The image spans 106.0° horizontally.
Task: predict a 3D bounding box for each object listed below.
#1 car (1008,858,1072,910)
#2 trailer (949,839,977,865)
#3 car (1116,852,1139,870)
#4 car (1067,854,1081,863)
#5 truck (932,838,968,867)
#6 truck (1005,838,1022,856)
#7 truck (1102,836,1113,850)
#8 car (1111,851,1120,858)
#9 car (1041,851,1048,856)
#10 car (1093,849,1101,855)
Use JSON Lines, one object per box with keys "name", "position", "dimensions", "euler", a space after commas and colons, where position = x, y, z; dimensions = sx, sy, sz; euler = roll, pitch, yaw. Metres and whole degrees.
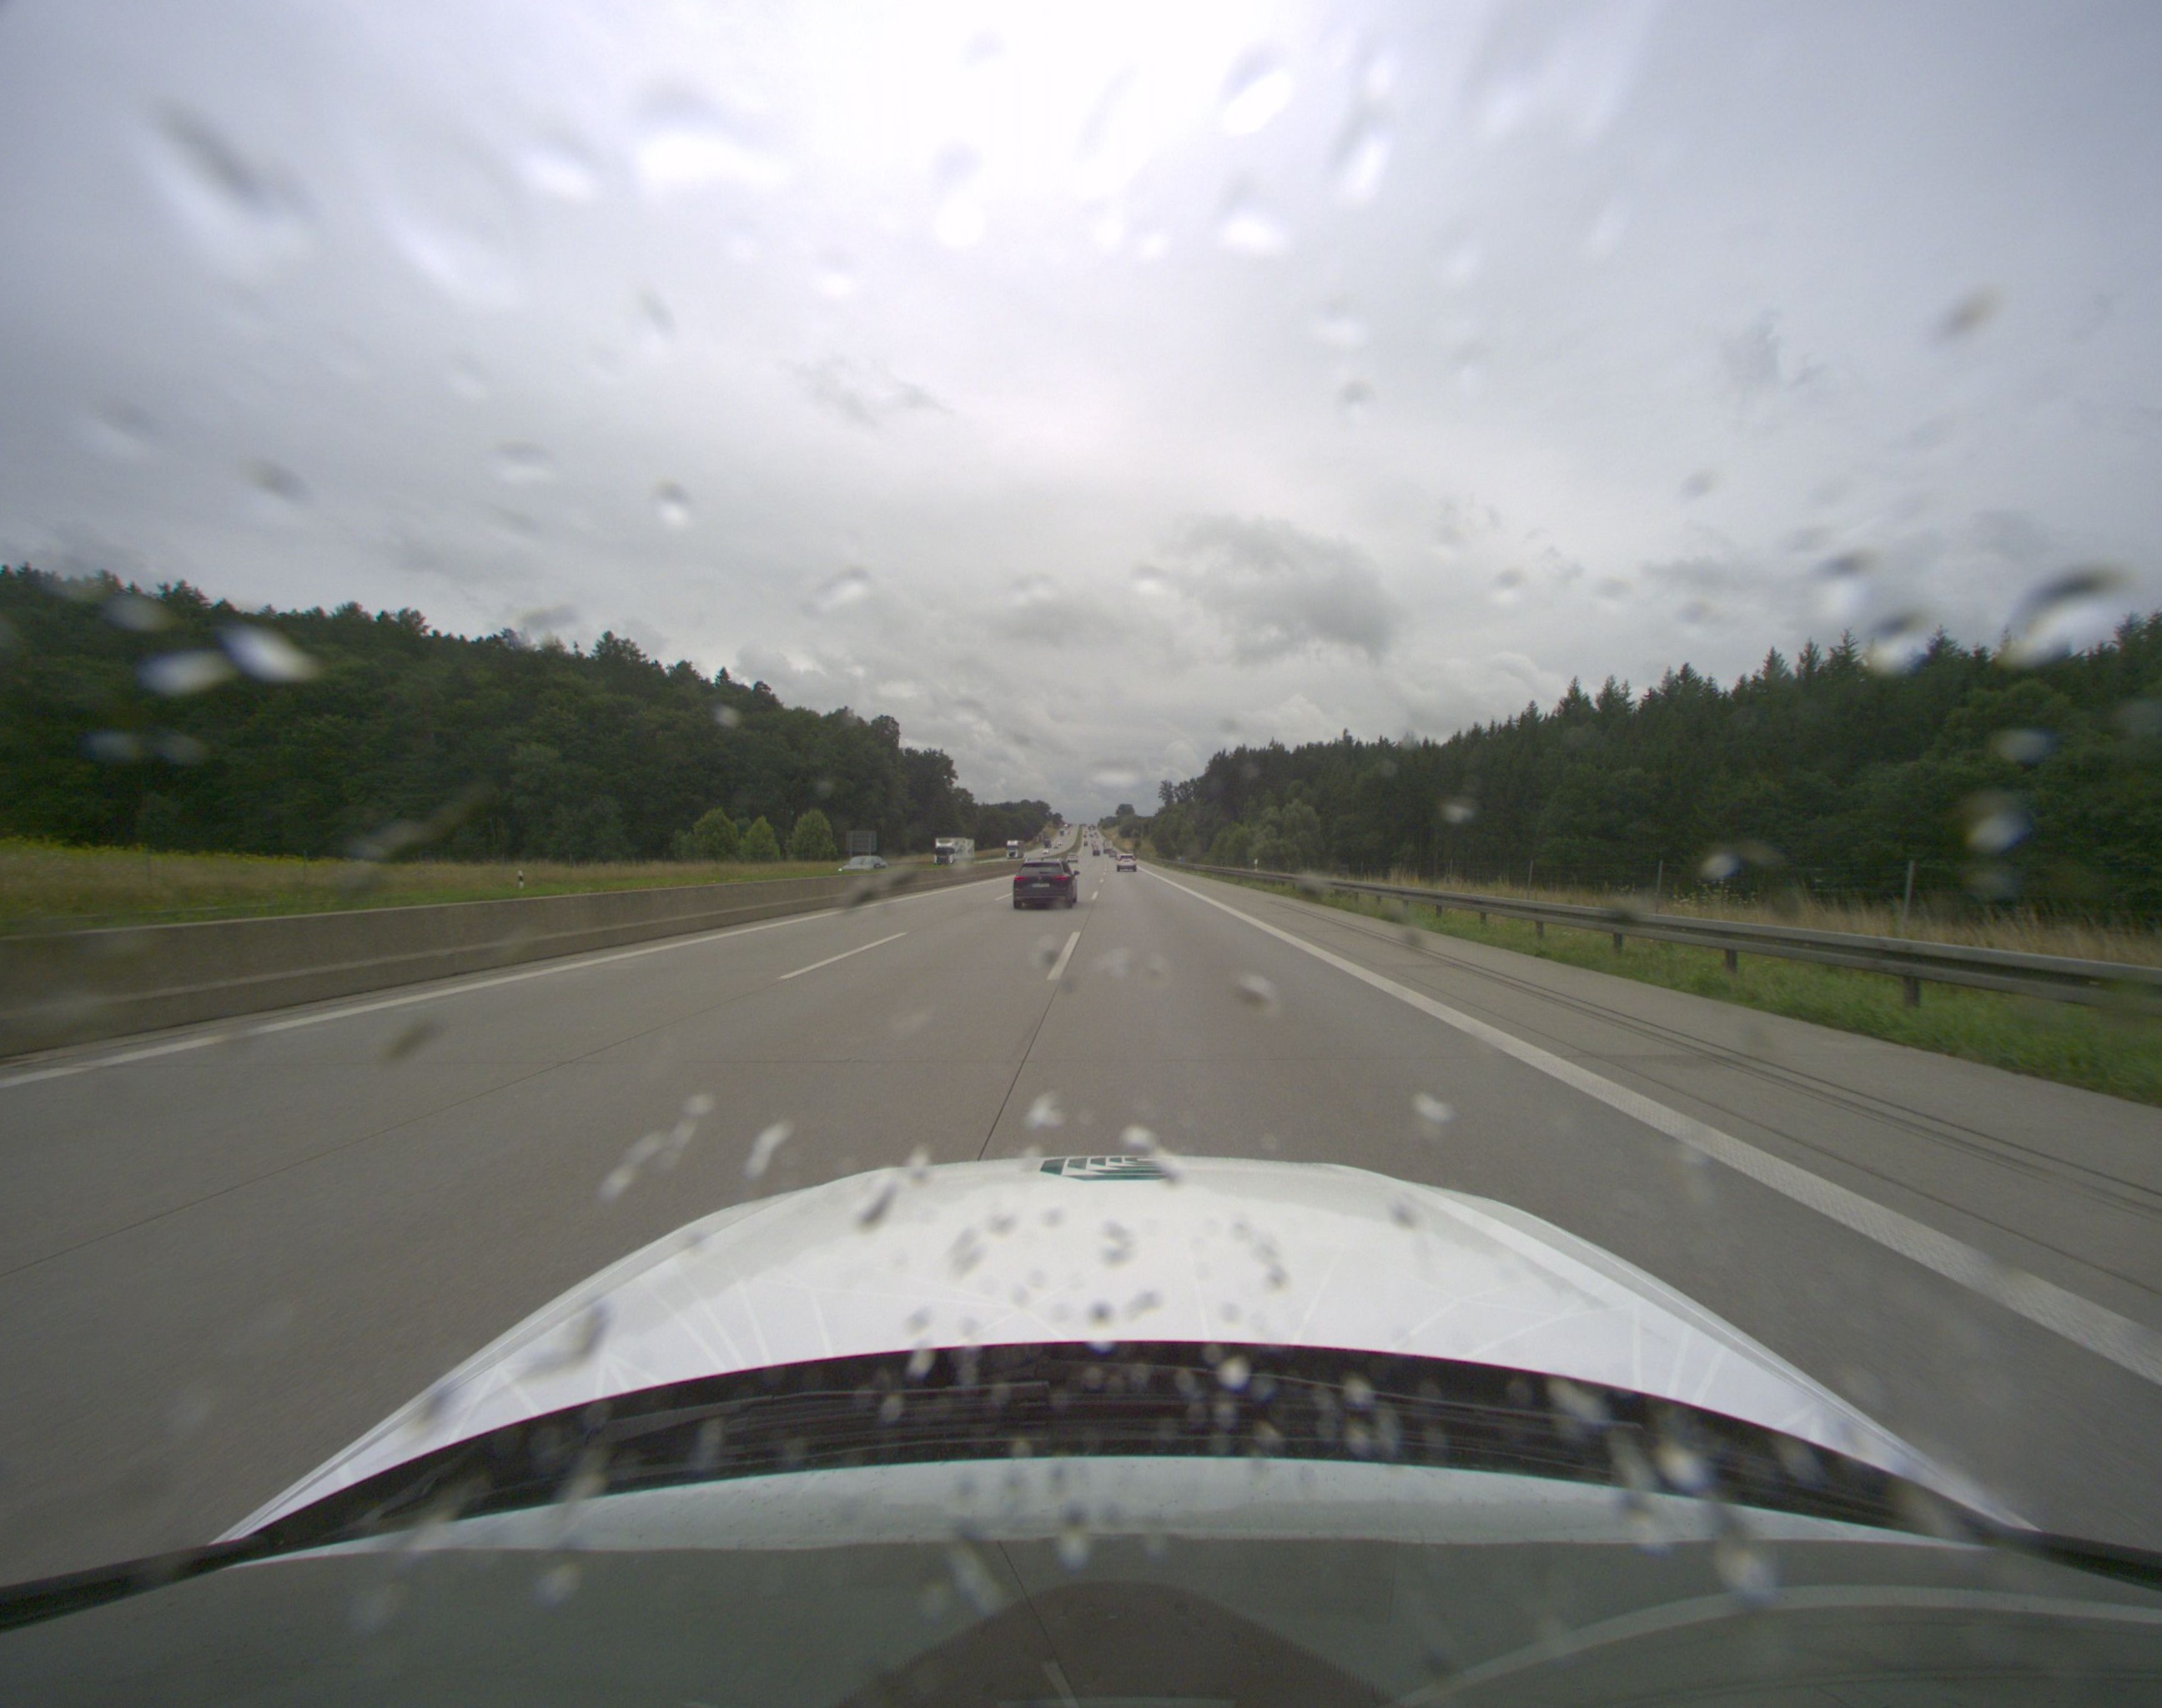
{"name": "car", "position": [-1.164, 0.854, 24.893], "dimensions": [1.747, 1.398, 4.483], "euler": [0, 0, 0]}
{"name": "trailer", "position": [-17.526, -0.268, 121.631], "dimensions": [2.808, 3.782, 7.720], "euler": [0, 0, 2]}
{"name": "car", "position": [4.359, 0.633, 76.564], "dimensions": [1.820, 1.655, 3.983], "euler": [-1, 0, -1]}
{"name": "car", "position": [-1.163, 0.753, 135.624], "dimensions": [1.939, 1.356, 4.263], "euler": [-1, 0, 3]}
{"name": "truck", "position": [-17.902, -0.228, 112.084], "dimensions": [2.802, 3.772, 11.357], "euler": [0, 0, 2]}
{"name": "truck", "position": [-15.323, -1.526, 186.320], "dimensions": [3.201, 4.057, 7.167], "euler": [0, 0, 1]}
{"name": "truck", "position": [7.993, -3.291, 245.303], "dimensions": [3.008, 4.179, 8.354], "euler": [-1, 2, 0]}
{"name": "car", "position": [7.990, 0.091, 187.234], "dimensions": [1.986, 1.530, 4.002], "euler": [1, 0, 2]}
{"name": "car", "position": [-10.959, -0.152, 244.819], "dimensions": [1.777, 1.468, 4.372], "euler": [-1, 1, 1]}
{"name": "car", "position": [4.111, -0.511, 208.072], "dimensions": [1.928, 1.375, 4.596], "euler": [0, 1, 1]}
